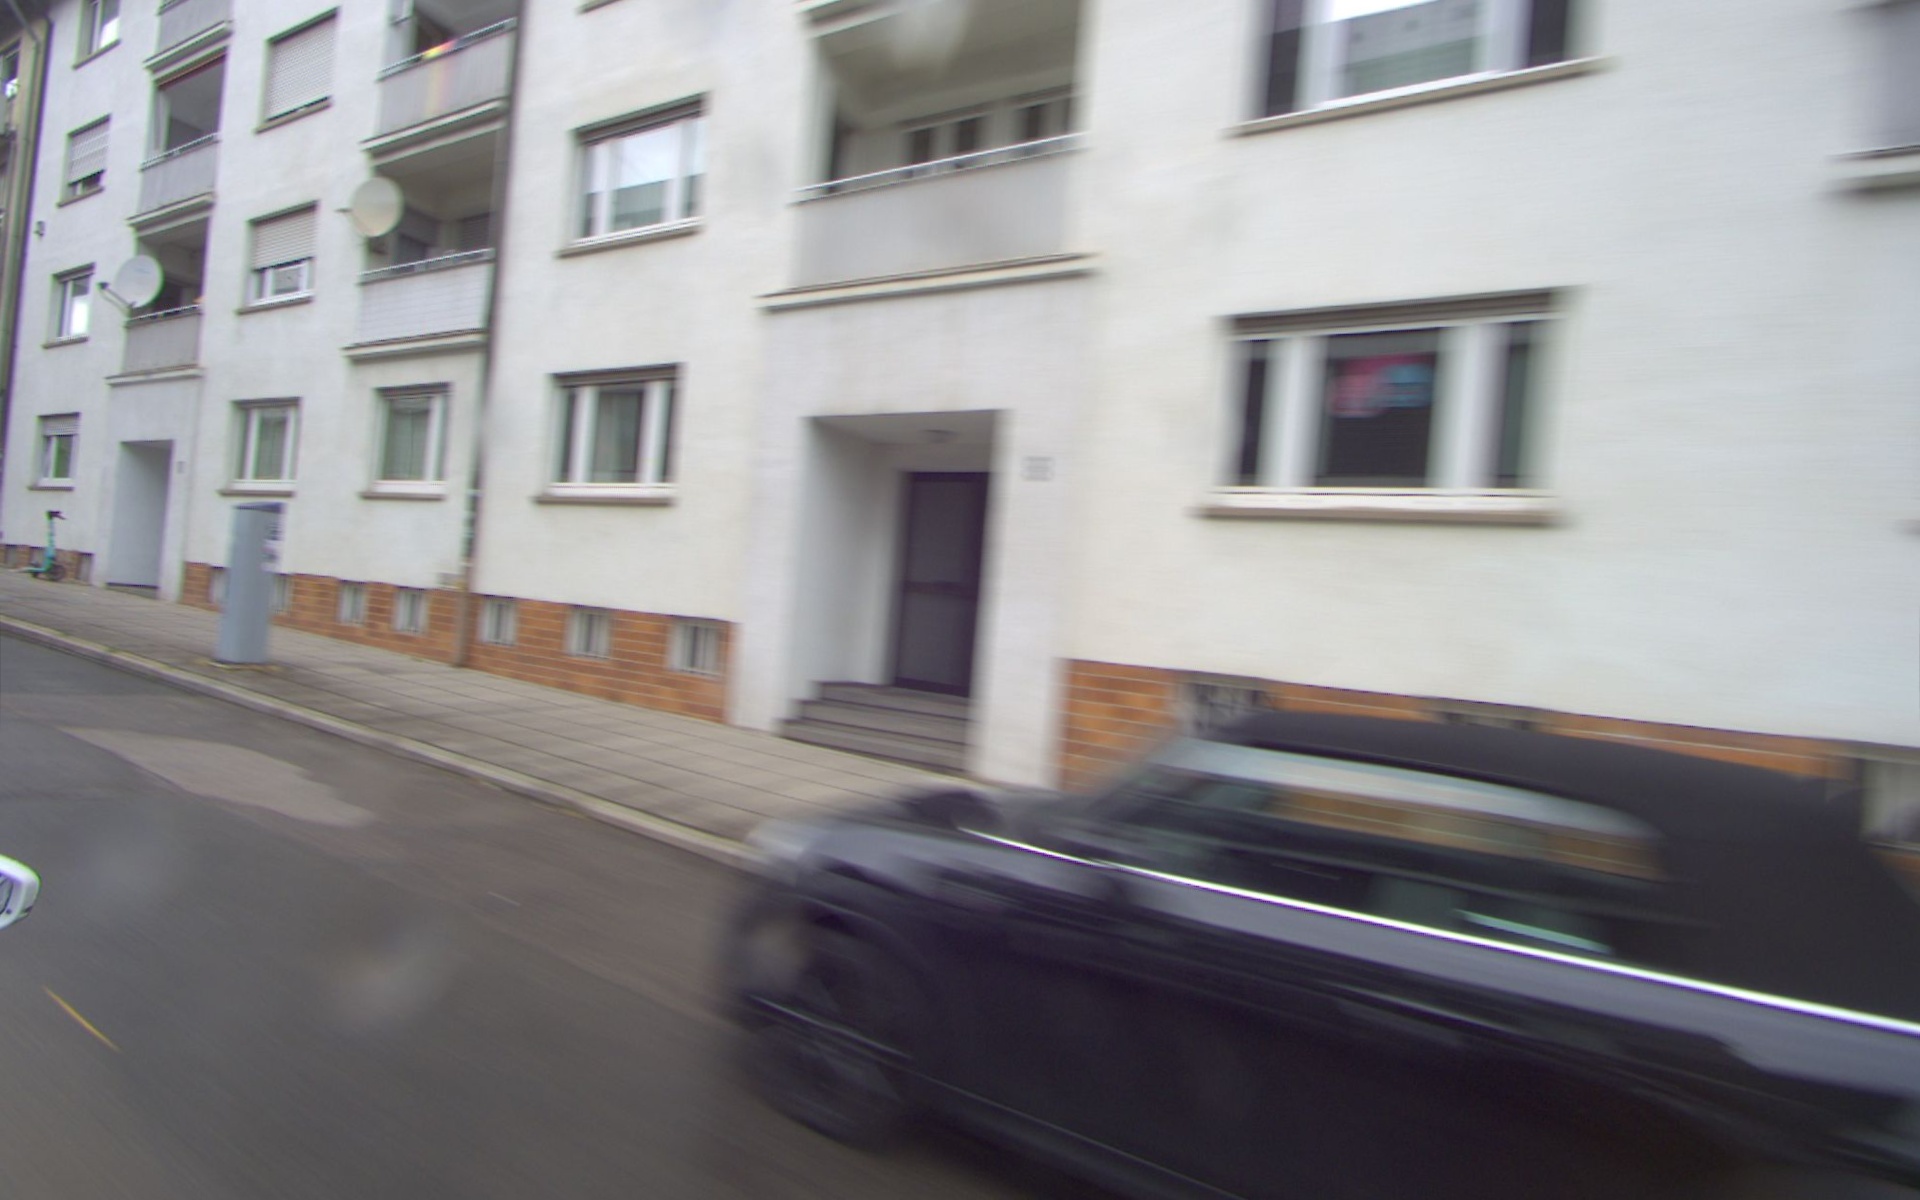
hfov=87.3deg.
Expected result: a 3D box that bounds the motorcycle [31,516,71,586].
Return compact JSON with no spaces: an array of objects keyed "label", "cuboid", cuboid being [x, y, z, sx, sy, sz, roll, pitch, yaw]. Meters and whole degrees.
[{"label":"motorcycle","cuboid":[-16.229,-0.877,17.953,0.768,1.179,0.253,5,-1,35]}]

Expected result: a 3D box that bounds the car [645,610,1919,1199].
[{"label":"car","cuboid":[1.038,0.980,3.071,3.702,1.477,1.676,5,-2,31]}]
